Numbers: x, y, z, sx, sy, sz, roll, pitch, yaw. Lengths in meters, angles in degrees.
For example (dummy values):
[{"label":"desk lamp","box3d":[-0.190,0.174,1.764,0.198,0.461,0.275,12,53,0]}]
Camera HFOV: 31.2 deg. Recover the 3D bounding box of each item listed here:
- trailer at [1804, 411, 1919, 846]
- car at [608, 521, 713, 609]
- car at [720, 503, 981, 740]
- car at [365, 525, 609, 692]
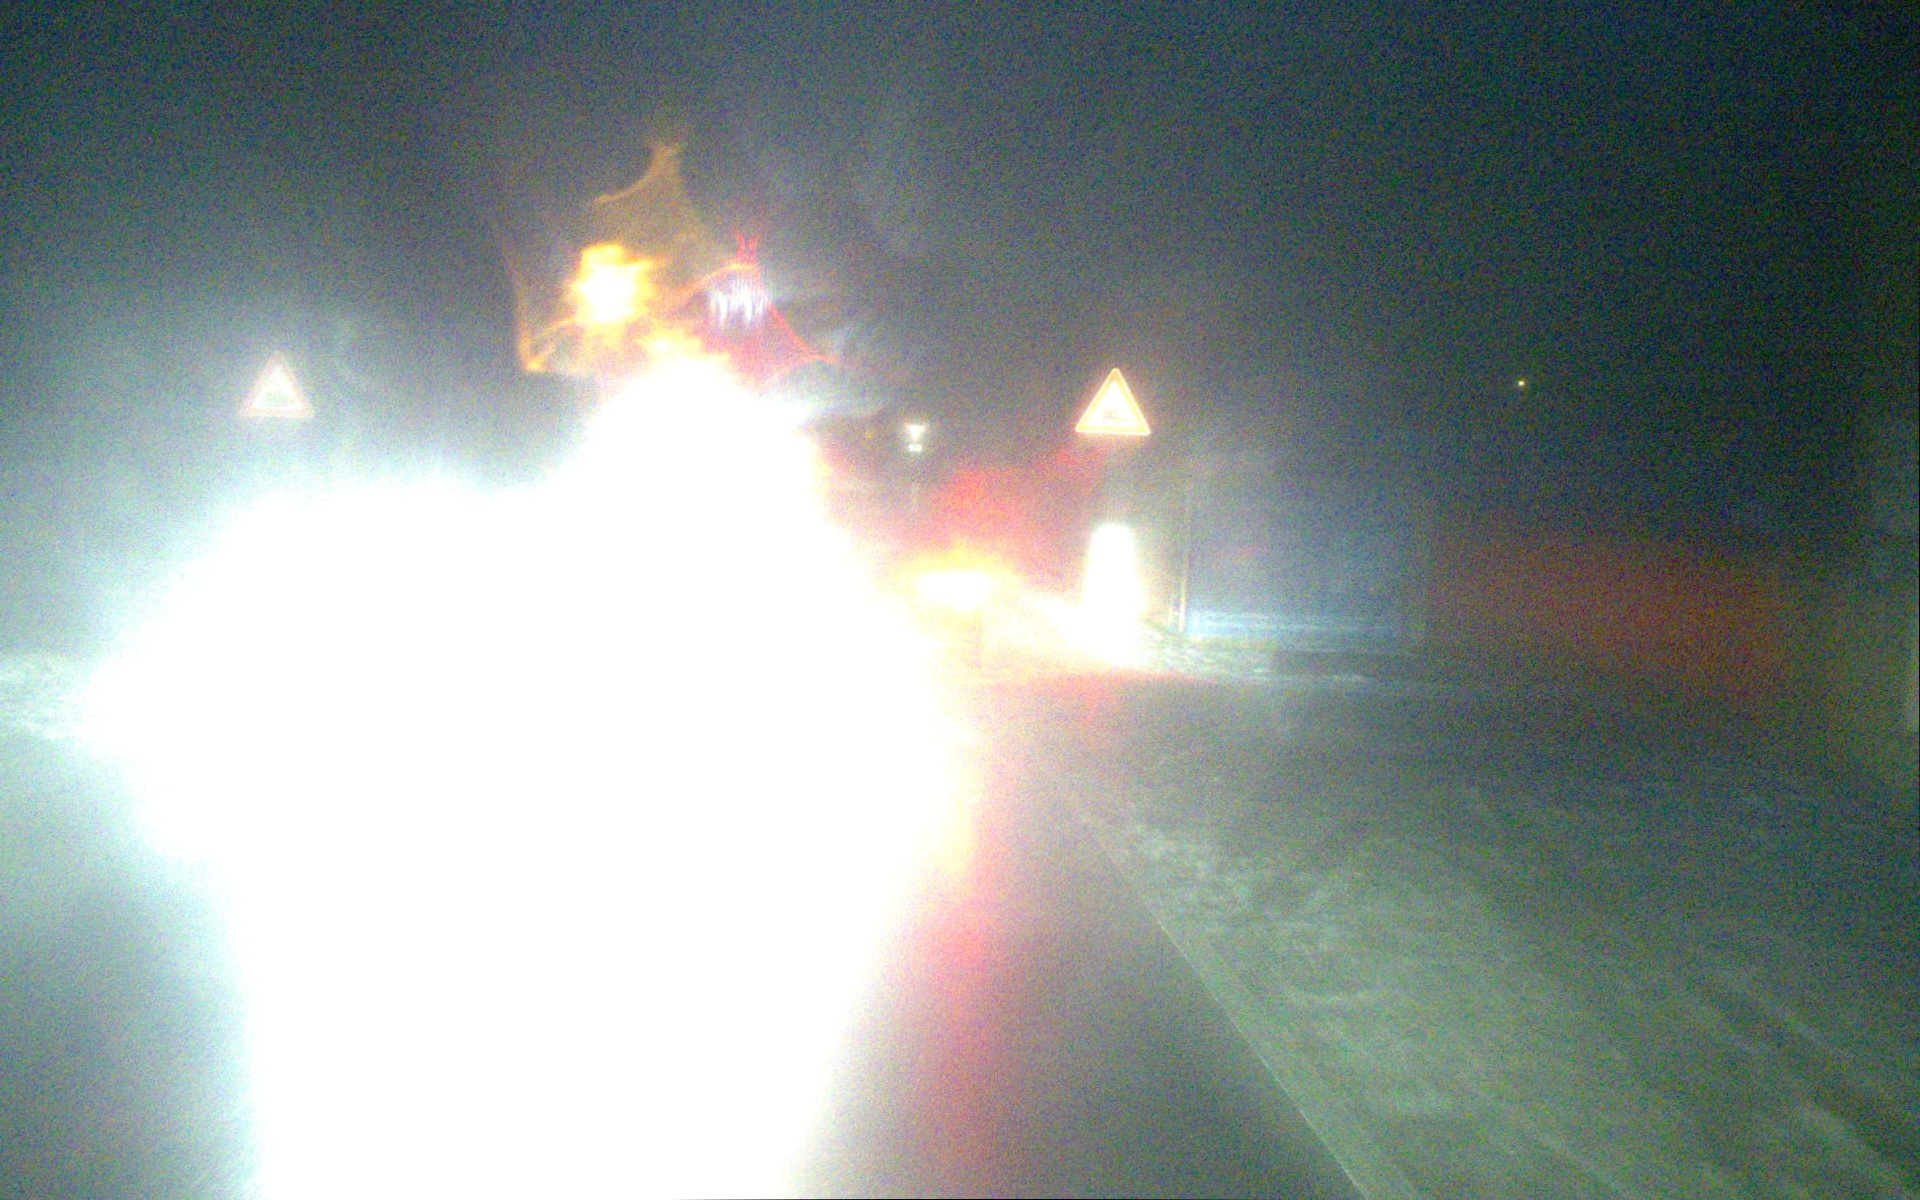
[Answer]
[{"label":"trailer","box3d":[6.076,0.216,18.174,1.630,2.356,4.654,4,1,-4]},{"label":"car","box3d":[-5.672,-0.693,65.502,1.801,1.504,3.616,3,2,-3]},{"label":"car","box3d":[-0.853,0.110,26.515,1.801,1.623,3.616,3,1,-2]},{"label":"car","box3d":[-4.645,0.043,34.403,1.993,1.455,4.899,3,1,-3]}]
